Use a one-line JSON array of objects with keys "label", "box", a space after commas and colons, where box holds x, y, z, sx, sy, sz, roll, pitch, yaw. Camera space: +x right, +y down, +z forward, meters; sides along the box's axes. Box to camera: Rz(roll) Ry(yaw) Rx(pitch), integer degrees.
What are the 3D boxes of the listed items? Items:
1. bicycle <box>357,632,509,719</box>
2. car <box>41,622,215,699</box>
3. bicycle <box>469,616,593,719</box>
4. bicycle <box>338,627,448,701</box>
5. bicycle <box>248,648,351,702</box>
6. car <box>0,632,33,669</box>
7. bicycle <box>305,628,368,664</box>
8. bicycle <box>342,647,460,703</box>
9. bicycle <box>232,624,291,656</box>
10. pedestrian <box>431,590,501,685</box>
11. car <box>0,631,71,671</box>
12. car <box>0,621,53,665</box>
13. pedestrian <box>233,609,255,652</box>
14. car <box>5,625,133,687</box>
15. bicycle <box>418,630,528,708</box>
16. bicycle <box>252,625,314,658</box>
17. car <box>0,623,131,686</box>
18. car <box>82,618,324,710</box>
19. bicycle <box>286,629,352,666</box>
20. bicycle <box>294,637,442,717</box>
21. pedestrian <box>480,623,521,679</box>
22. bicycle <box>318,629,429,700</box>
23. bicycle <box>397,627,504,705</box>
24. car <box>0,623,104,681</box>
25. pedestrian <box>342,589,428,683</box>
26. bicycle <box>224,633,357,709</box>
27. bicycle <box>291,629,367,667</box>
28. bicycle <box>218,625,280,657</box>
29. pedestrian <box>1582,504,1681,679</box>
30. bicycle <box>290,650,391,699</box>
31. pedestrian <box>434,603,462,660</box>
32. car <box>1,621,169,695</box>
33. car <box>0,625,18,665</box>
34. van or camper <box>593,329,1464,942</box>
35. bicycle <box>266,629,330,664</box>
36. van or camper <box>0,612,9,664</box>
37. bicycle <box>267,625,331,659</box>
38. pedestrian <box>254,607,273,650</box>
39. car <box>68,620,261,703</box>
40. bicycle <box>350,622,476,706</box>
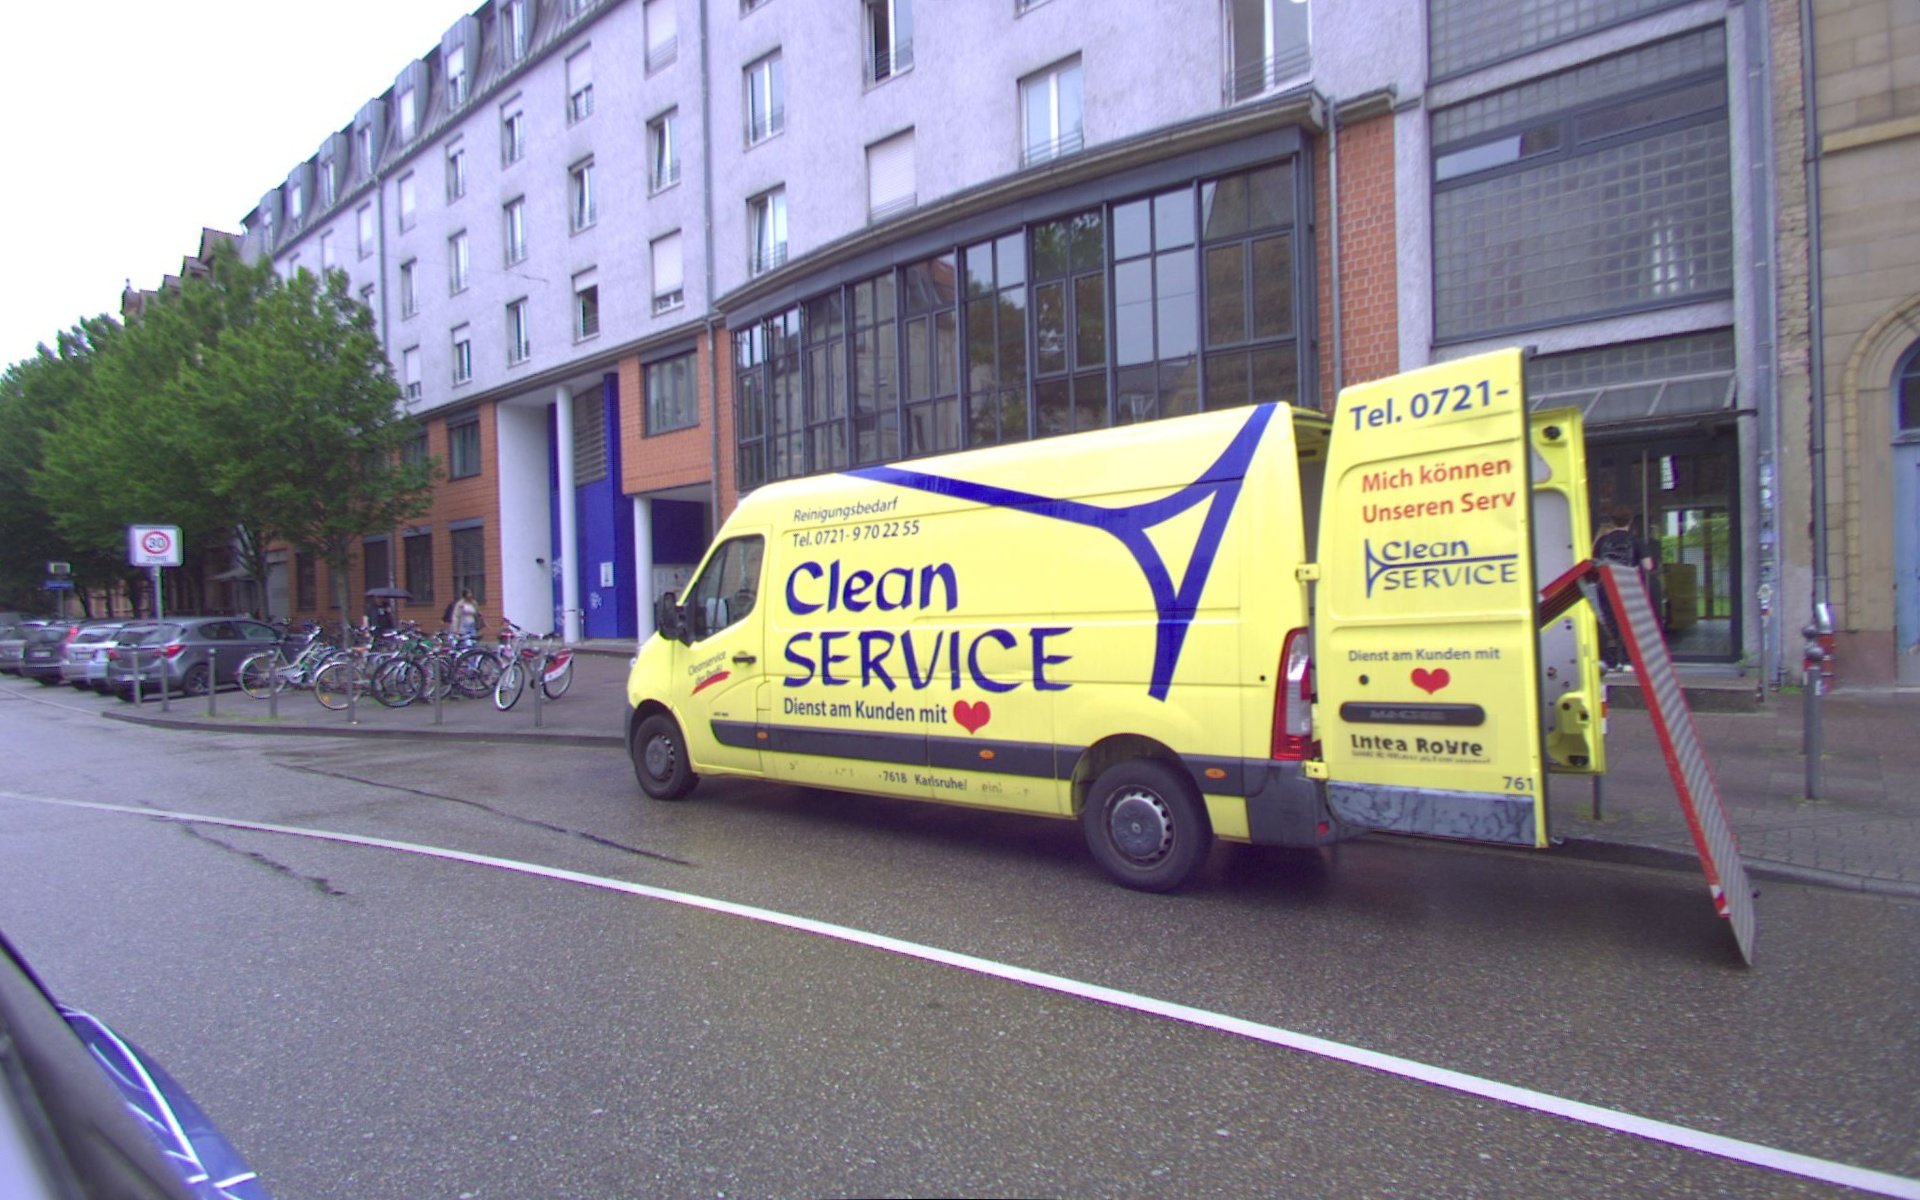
[{"label": "bicycle", "box": [-7.641, 1.063, 14.721, 1.832, 1.081, 0.610, -3, 1, -44]}, {"label": "car", "box": [-18.994, 1.334, 23.259, 1.432, 1.514, 3.078, -2, 0, 0]}, {"label": "bicycle", "box": [-6.033, 0.913, 14.367, 0.760, 1.225, 1.917, -1, 3, 6]}, {"label": "bicycle", "box": [-9.752, 1.078, 17.458, 0.518, 1.114, 1.596, -2, 1, 28]}, {"label": "bicycle", "box": [-11.930, 1.336, 18.307, 0.498, 0.811, 1.454, -1, 1, 43]}, {"label": "car", "box": [-40.513, 2.118, 41.653, 1.663, 1.502, 3.798, -1, -1, -9]}, {"label": "bicycle", "box": [-18.500, 1.367, 30.056, 0.444, 0.992, 1.573, -2, -1, 33]}, {"label": "bicycle", "box": [-9.319, 1.227, 16.947, 0.455, 0.767, 1.756, -2, 1, 27]}, {"label": "bicycle", "box": [-23.447, 1.333, 34.009, 0.464, 0.992, 1.573, -2, -1, 33]}, {"label": "pedestrian", "box": [-9.548, 0.715, 19.578, 0.859, 1.719, 0.817, -2, 3, 42]}, {"label": "car", "box": [-38.022, 2.024, 40.696, 1.663, 1.502, 3.798, -1, -1, -9]}, {"label": "car", "box": [-43.186, 1.934, 45.117, 1.666, 1.910, 4.329, -1, -1, 0]}, {"label": "pedestrian", "box": [-27.388, 1.158, 38.703, 0.372, 1.622, 0.598, -2, -1, 40]}, {"label": "car", "box": [-23.769, 1.467, 27.081, 1.177, 1.461, 2.501, -2, 0, 0]}, {"label": "bicycle", "box": [-7.508, 1.036, 15.651, 0.418, 1.072, 1.442, -1, 1, 44]}, {"label": "bicycle", "box": [-21.217, 1.292, 31.742, 0.464, 0.992, 1.573, -2, -1, 33]}, {"label": "car", "box": [-25.620, 1.522, 28.773, 1.358, 1.567, 2.970, -2, 0, 12]}, {"label": "car", "box": [-14.638, 1.175, 19.841, 1.721, 1.514, 3.613, -1, 1, 9]}, {"label": "bicycle", "box": [-18.493, 1.360, 29.229, 0.444, 0.992, 1.573, -2, -1, 33]}, {"label": "bicycle", "box": [-8.642, 1.096, 14.838, 0.519, 1.000, 1.778, -1, 1, 38]}, {"label": "pedestrian", "box": [-9.209, 1.024, 20.294, 0.527, 1.058, 0.479, -2, 3, 40]}, {"label": "bicycle", "box": [-10.300, 1.110, 17.818, 0.519, 1.114, 1.591, -2, 1, 36]}, {"label": "bicycle", "box": [-8.109, 1.032, 16.137, 1.439, 1.111, 0.462, -3, 1, -35]}, {"label": "car", "box": [-27.708, 1.537, 30.573, 1.138, 1.567, 2.672, -2, 0, 12]}, {"label": "pedestrian", "box": [-12.585, 0.775, 22.174, 1.055, 1.894, 1.213, -2, 4, 40]}, {"label": "bicycle", "box": [-11.375, 1.176, 17.251, 0.472, 1.114, 1.791, -2, 1, 36]}, {"label": "bicycle", "box": [-18.056, 1.354, 29.012, 0.444, 0.992, 1.830, -2, 0, 33]}, {"label": "bicycle", "box": [-23.152, 1.325, 32.980, 0.464, 0.992, 1.573, -2, -1, 33]}, {"label": "pedestrian", "box": [7.070, -0.078, 10.697, 0.785, 1.741, 0.997, -2, -1, 32]}, {"label": "bicycle", "box": [-11.155, 1.323, 18.247, 0.498, 0.727, 1.454, -1, 2, 43]}, {"label": "pedestrian", "box": [-14.153, 0.866, 27.975, 0.547, 1.541, 0.509, -2, -1, 38]}, {"label": "car", "box": [-21.391, 1.373, 24.894, 1.432, 1.564, 3.078, -2, 0, 0]}, {"label": "car", "box": [-46.327, 2.132, 46.771, 1.554, 1.846, 4.329, -1, -1, 0]}, {"label": "van or camper", "box": [0.014, 0.221, 7.100, 5.937, 2.631, 2.174, -2, -1, 40]}, {"label": "bicycle", "box": [-19.936, 1.383, 30.488, 0.444, 0.992, 1.573, -2, -1, 33]}, {"label": "van or camper", "box": [-50.918, 1.961, 50.594, 1.984, 2.632, 4.577, -1, -1, 14]}, {"label": "bicycle", "box": [-20.268, 1.276, 31.060, 0.444, 0.992, 1.573, -2, -1, 33]}, {"label": "pedestrian", "box": [-26.937, 1.101, 39.123, 0.425, 1.622, 0.508, -2, -1, 42]}, {"label": "car", "box": [-16.914, 1.264, 21.679, 1.436, 1.514, 3.070, -2, 0, 9]}, {"label": "bicycle", "box": [-8.894, 1.015, 16.545, 0.518, 1.203, 1.798, -2, 1, 27]}]
